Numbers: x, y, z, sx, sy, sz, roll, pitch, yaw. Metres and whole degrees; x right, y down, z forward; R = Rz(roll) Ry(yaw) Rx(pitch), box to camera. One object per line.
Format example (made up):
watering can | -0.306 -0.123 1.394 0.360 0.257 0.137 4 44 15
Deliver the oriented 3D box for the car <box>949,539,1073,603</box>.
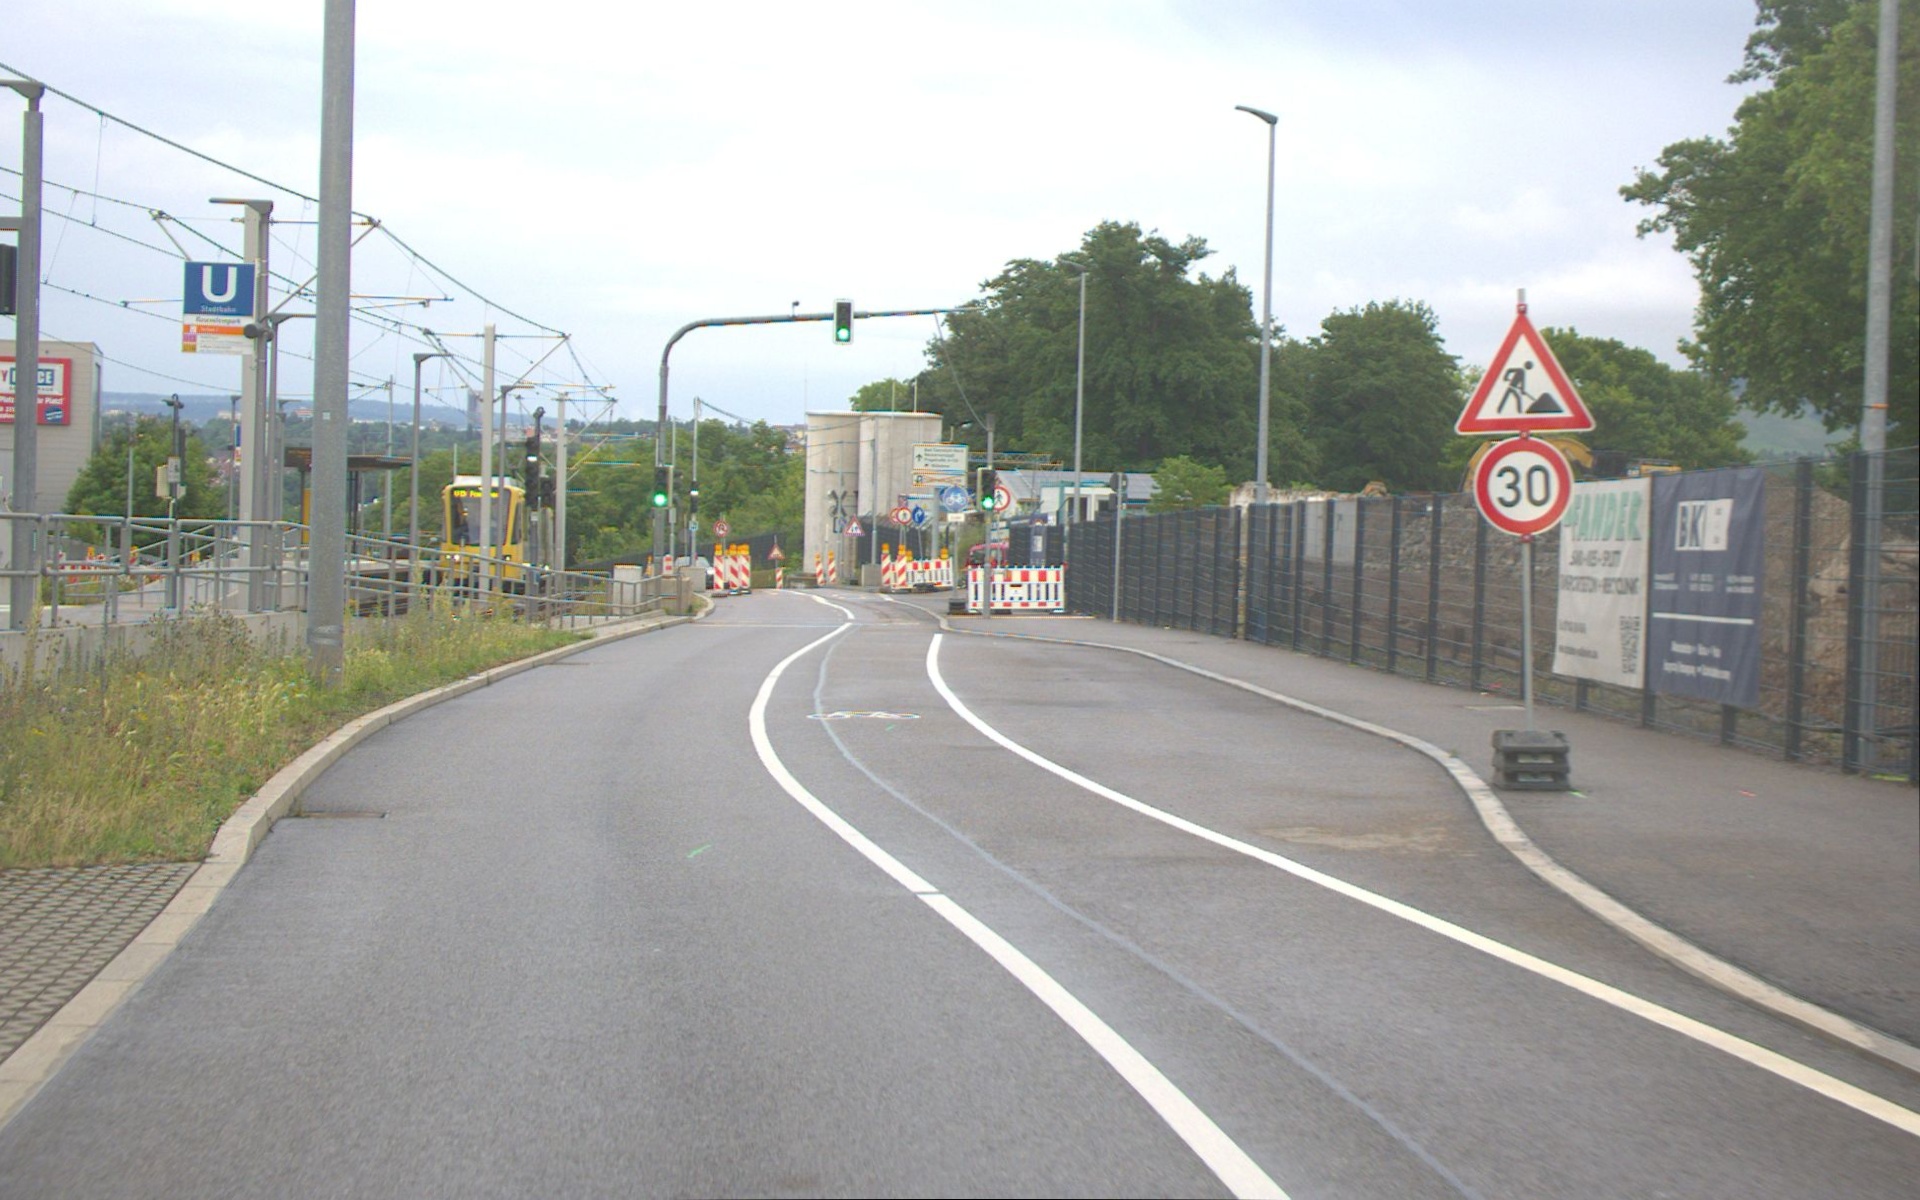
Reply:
car | 1.518 -0.843 100.302 1.822 1.787 4.402 1 1 27

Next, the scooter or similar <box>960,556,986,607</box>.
scooter or similar | 0.353 -0.512 94.036 0.615 1.347 1.912 1 1 3

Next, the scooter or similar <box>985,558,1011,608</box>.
scooter or similar | 1.041 -0.466 93.989 0.615 1.347 1.912 1 1 3

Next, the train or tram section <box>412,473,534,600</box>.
train or tram section | -16.472 -2.121 117.448 2.954 3.872 19.576 2 1 -5

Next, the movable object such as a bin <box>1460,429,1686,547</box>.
movable object such as a bin | 31.746 -5.779 178.528 11.233 5.975 3.490 0 0 4
